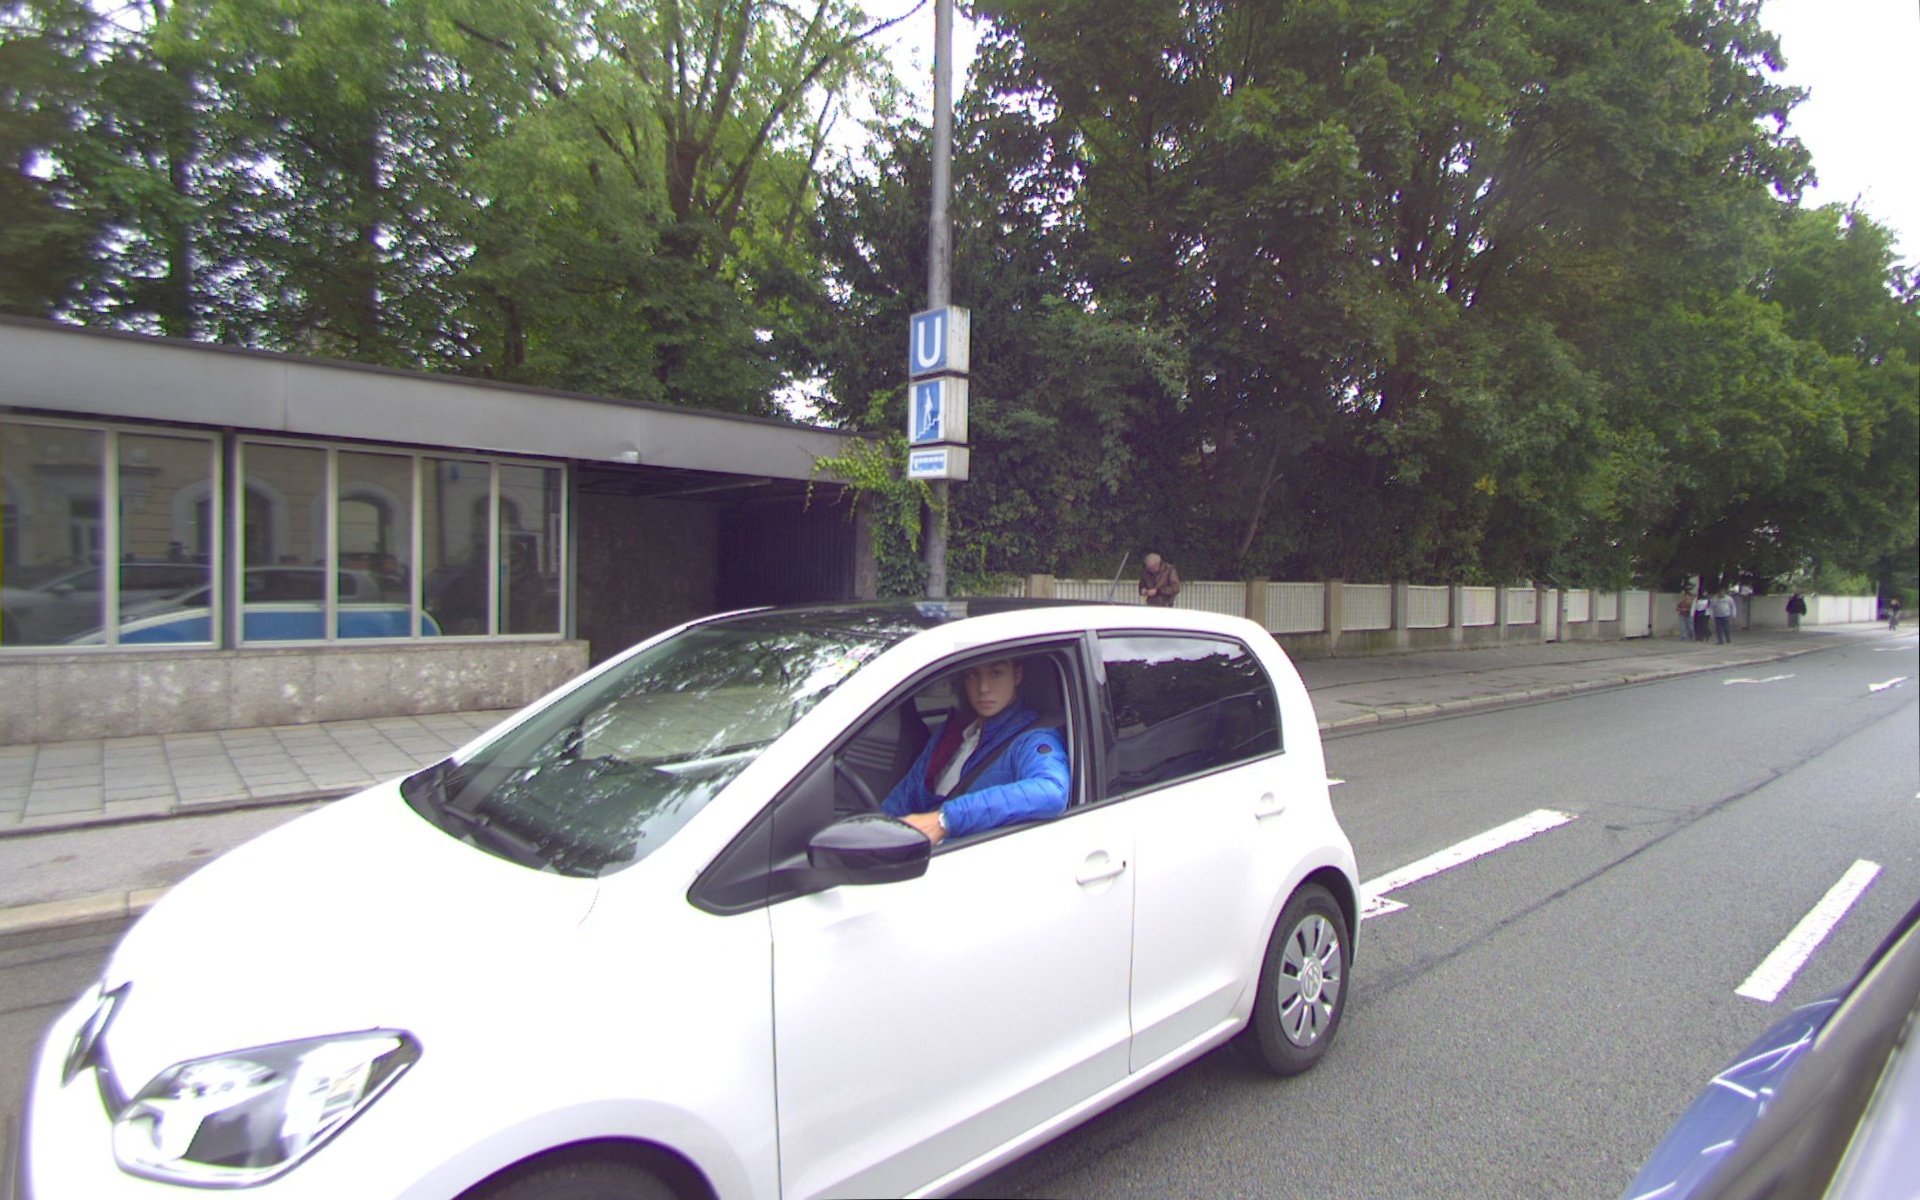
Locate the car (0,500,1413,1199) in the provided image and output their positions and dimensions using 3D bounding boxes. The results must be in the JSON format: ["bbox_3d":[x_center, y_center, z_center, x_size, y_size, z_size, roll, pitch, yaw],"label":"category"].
[{"bbox_3d":[-0.306,0.653,2.923,3.524,1.581,1.645,0,1,-42],"label":"car"}]

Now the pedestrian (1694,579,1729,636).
[{"bbox_3d":[23.700,0.233,31.912,0.753,1.726,0.667,0,3,-42],"label":"pedestrian"}]

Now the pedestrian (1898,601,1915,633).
[{"bbox_3d":[48.895,0.886,52.275,0.716,1.600,0.529,0,3,-42],"label":"pedestrian"}]

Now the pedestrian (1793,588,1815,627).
[{"bbox_3d":[35.906,0.312,43.043,0.716,1.600,0.529,0,3,-42],"label":"pedestrian"}]

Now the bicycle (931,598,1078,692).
[{"bbox_3d":[0.597,0.533,12.914,1.991,1.104,0.623,0,1,-41],"label":"bicycle"}]

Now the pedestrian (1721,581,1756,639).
[{"bbox_3d":[24.170,0.307,31.416,0.753,1.726,0.667,0,3,-42],"label":"pedestrian"}]

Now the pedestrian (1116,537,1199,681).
[{"bbox_3d":[2.816,0.106,14.439,0.788,1.966,0.779,0,2,-40],"label":"pedestrian"}]

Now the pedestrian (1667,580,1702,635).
[{"bbox_3d":[23.233,0.231,32.446,0.753,1.726,0.667,0,3,-42],"label":"pedestrian"}]
